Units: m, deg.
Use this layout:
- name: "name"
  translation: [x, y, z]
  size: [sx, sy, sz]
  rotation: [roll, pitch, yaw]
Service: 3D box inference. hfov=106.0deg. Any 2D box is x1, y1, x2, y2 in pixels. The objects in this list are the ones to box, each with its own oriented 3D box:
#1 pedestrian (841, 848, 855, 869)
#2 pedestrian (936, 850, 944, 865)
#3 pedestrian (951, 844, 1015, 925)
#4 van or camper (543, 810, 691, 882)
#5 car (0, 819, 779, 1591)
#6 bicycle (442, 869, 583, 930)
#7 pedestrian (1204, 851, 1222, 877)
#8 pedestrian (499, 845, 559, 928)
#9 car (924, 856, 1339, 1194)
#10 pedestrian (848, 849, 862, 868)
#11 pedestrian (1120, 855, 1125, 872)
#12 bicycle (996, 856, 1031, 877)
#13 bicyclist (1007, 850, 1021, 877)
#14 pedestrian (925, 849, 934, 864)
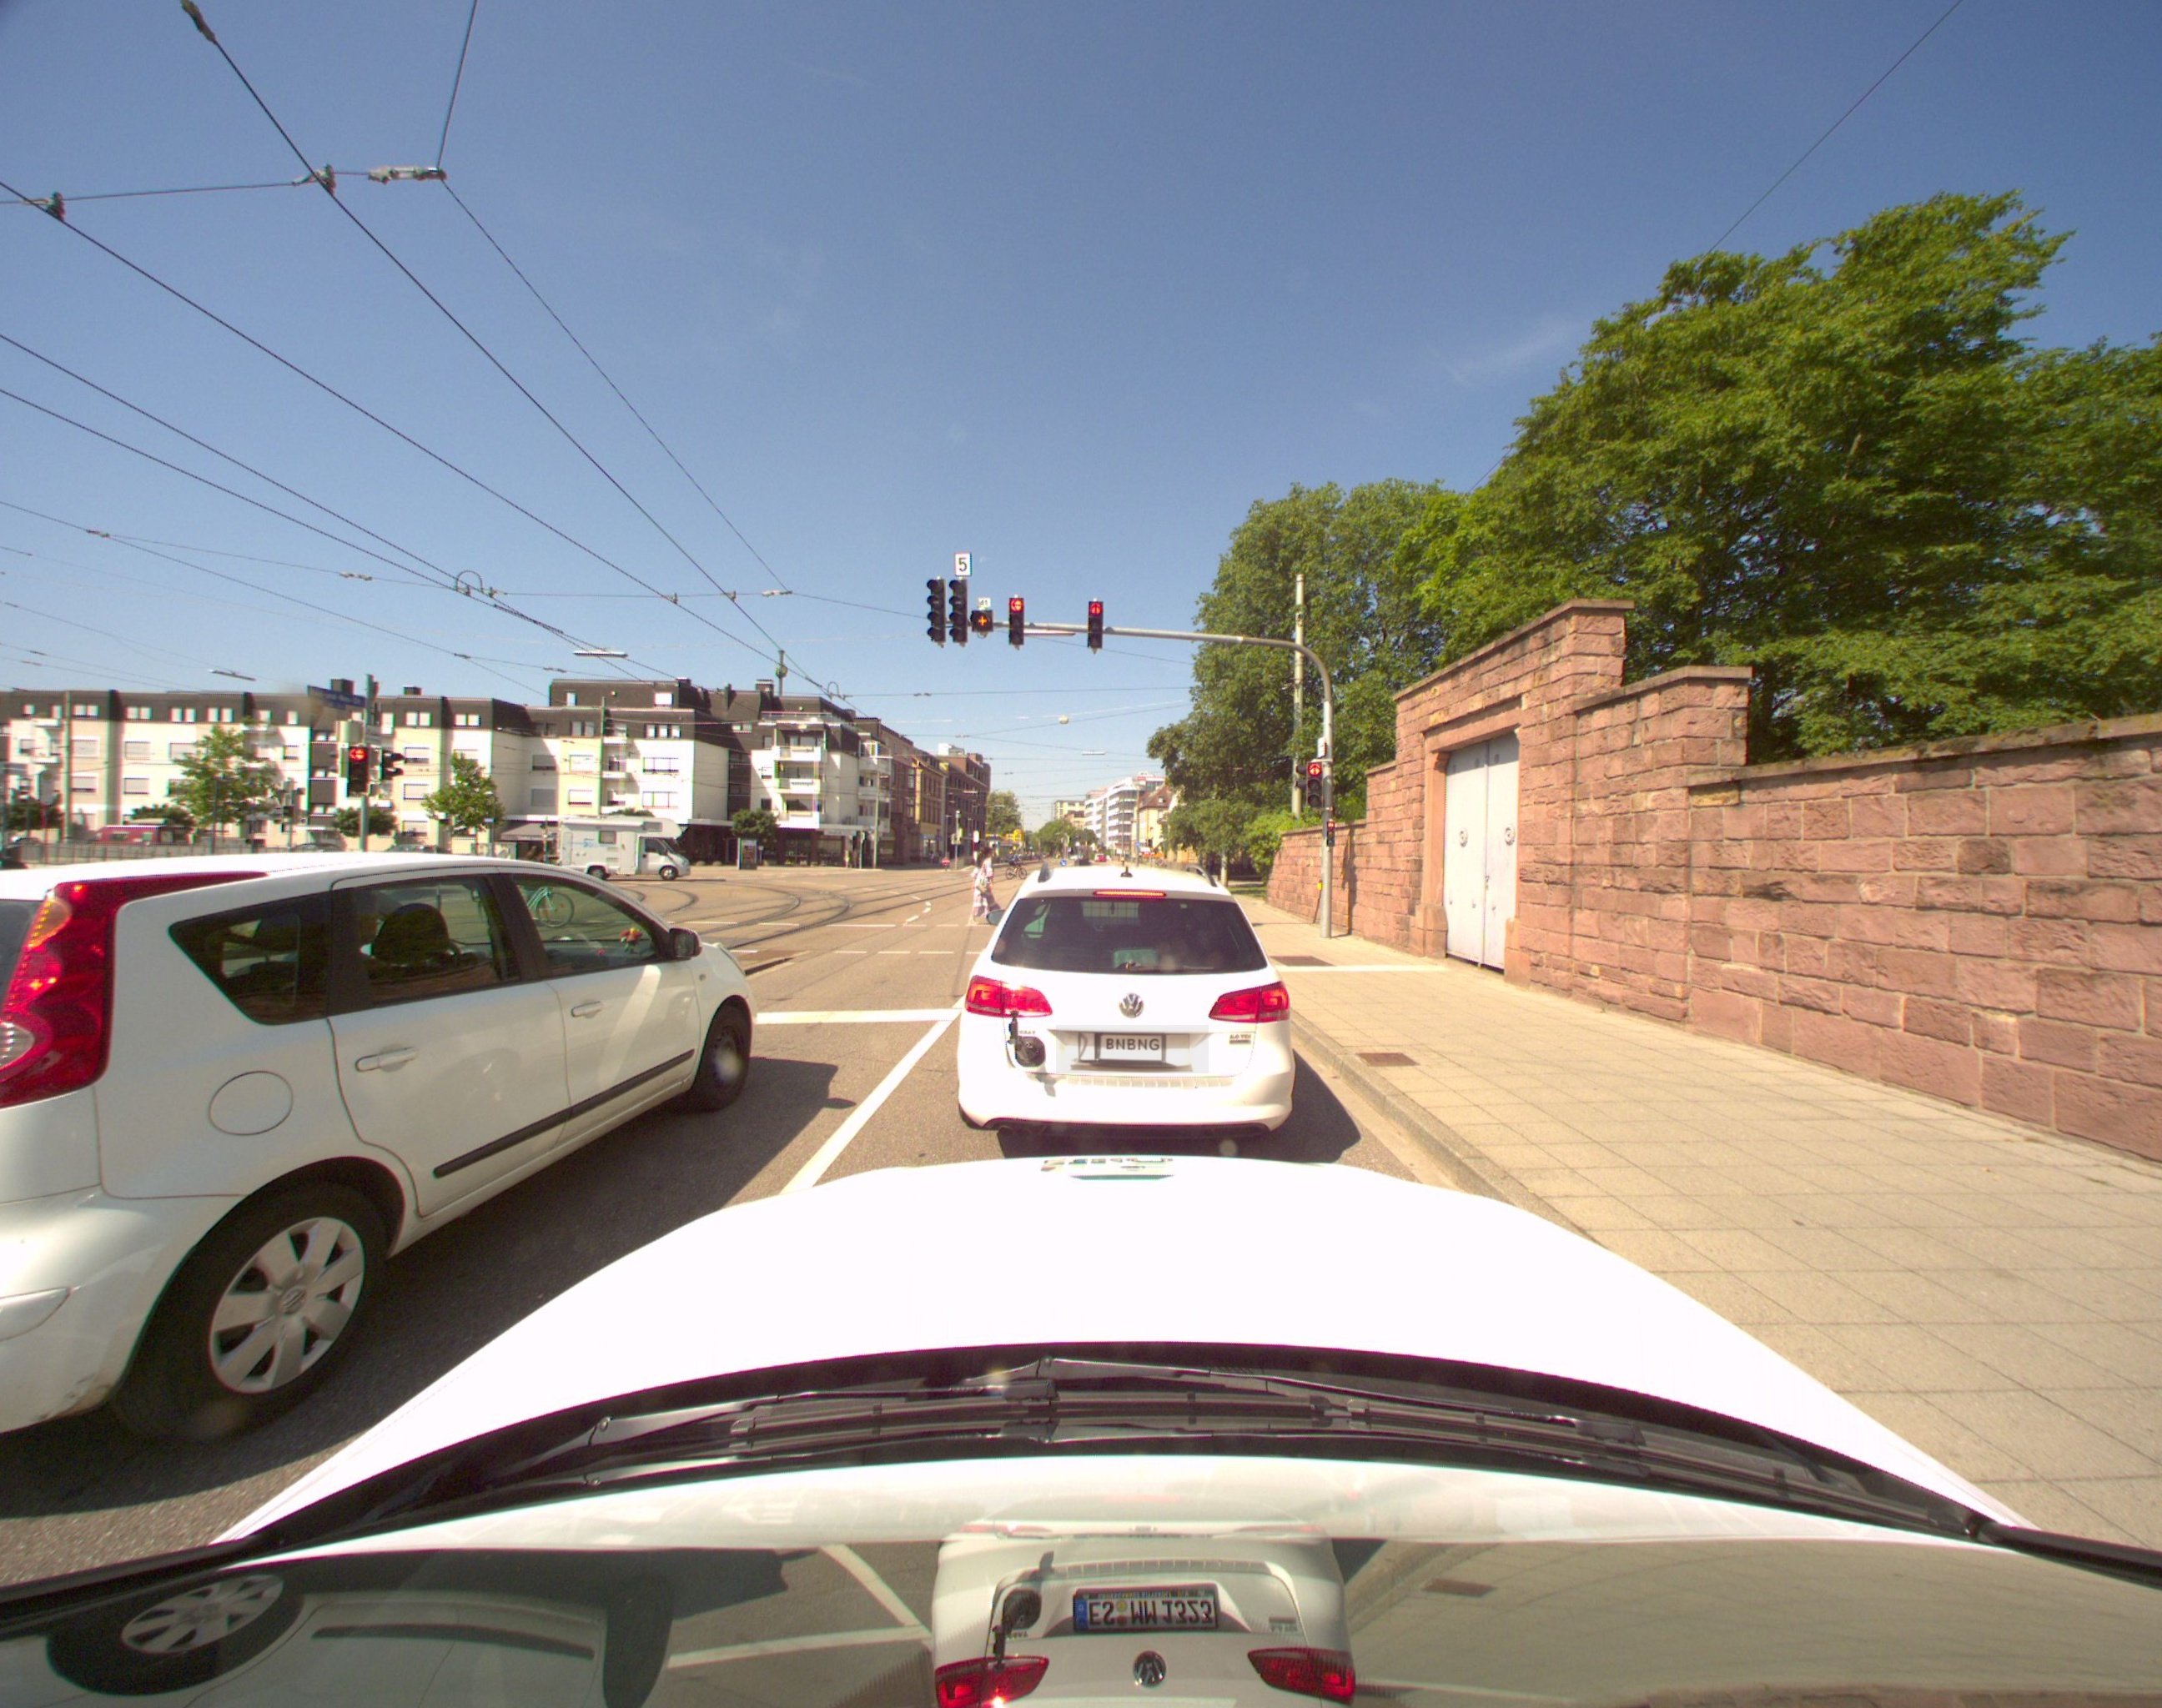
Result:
- name: "pedestrian"
  translation: [-20.235, 0.393, 70.700]
  size: [0.978, 1.743, 0.856]
  rotation: [0, -2, -32]
- name: "pedestrian"
  translation: [-17.548, 0.445, 101.052]
  size: [0.860, 1.743, 0.973]
  rotation: [-1, -1, -4]
- name: "pedestrian"
  translation: [-2.070, 0.623, 17.184]
  size: [0.979, 1.651, 0.945]
  rotation: [0, -2, -38]
- name: "van or camper"
  translation: [-21.099, -0.327, 37.430]
  size: [5.714, 3.093, 2.553]
  rotation: [0, -1, -26]
- name: "car"
  translation: [-2.904, 0.698, 3.559]
  size: [1.636, 1.566, 3.805]
  rotation: [-1, 1, 1]
- name: "bicycle"
  translation: [-10.608, 0.838, 15.257]
  size: [2.021, 1.090, 0.707]
  rotation: [1, 0, -13]
- name: "pedestrian"
  translation: [9.216, 0.709, 56.955]
  size: [0.962, 1.743, 0.869]
  rotation: [-2, -1, 27]
- name: "pedestrian"
  translation: [-10.756, 0.627, 15.897]
  size: [0.746, 1.572, 0.672]
  rotation: [1, -1, -13]
- name: "car"
  translation: [0.276, 0.747, 5.557]
  size: [1.801, 1.448, 4.001]
  rotation: [1, 0, 1]
- name: "pedestrian"
  translation: [-20.101, 0.396, 72.485]
  size: [0.978, 1.743, 0.856]
  rotation: [0, -2, -30]
- name: "pedestrian"
  translation: [5.696, 1.251, 111.720]
  size: [0.687, 2.325, 1.233]
  rotation: [-1, -1, 3]
- name: "bicycle"
  translation: [-4.152, 0.757, 50.177]
  size: [2.260, 1.297, 0.553]
  rotation: [0, -2, -39]
- name: "bicyclist"
  translation: [-4.138, 0.574, 50.198]
  size: [0.641, 1.613, 0.556]
  rotation: [0, -2, -39]
- name: "pedestrian"
  translation: [-17.629, 0.329, 94.637]
  size: [0.860, 1.743, 0.973]
  rotation: [-1, -1, -4]
